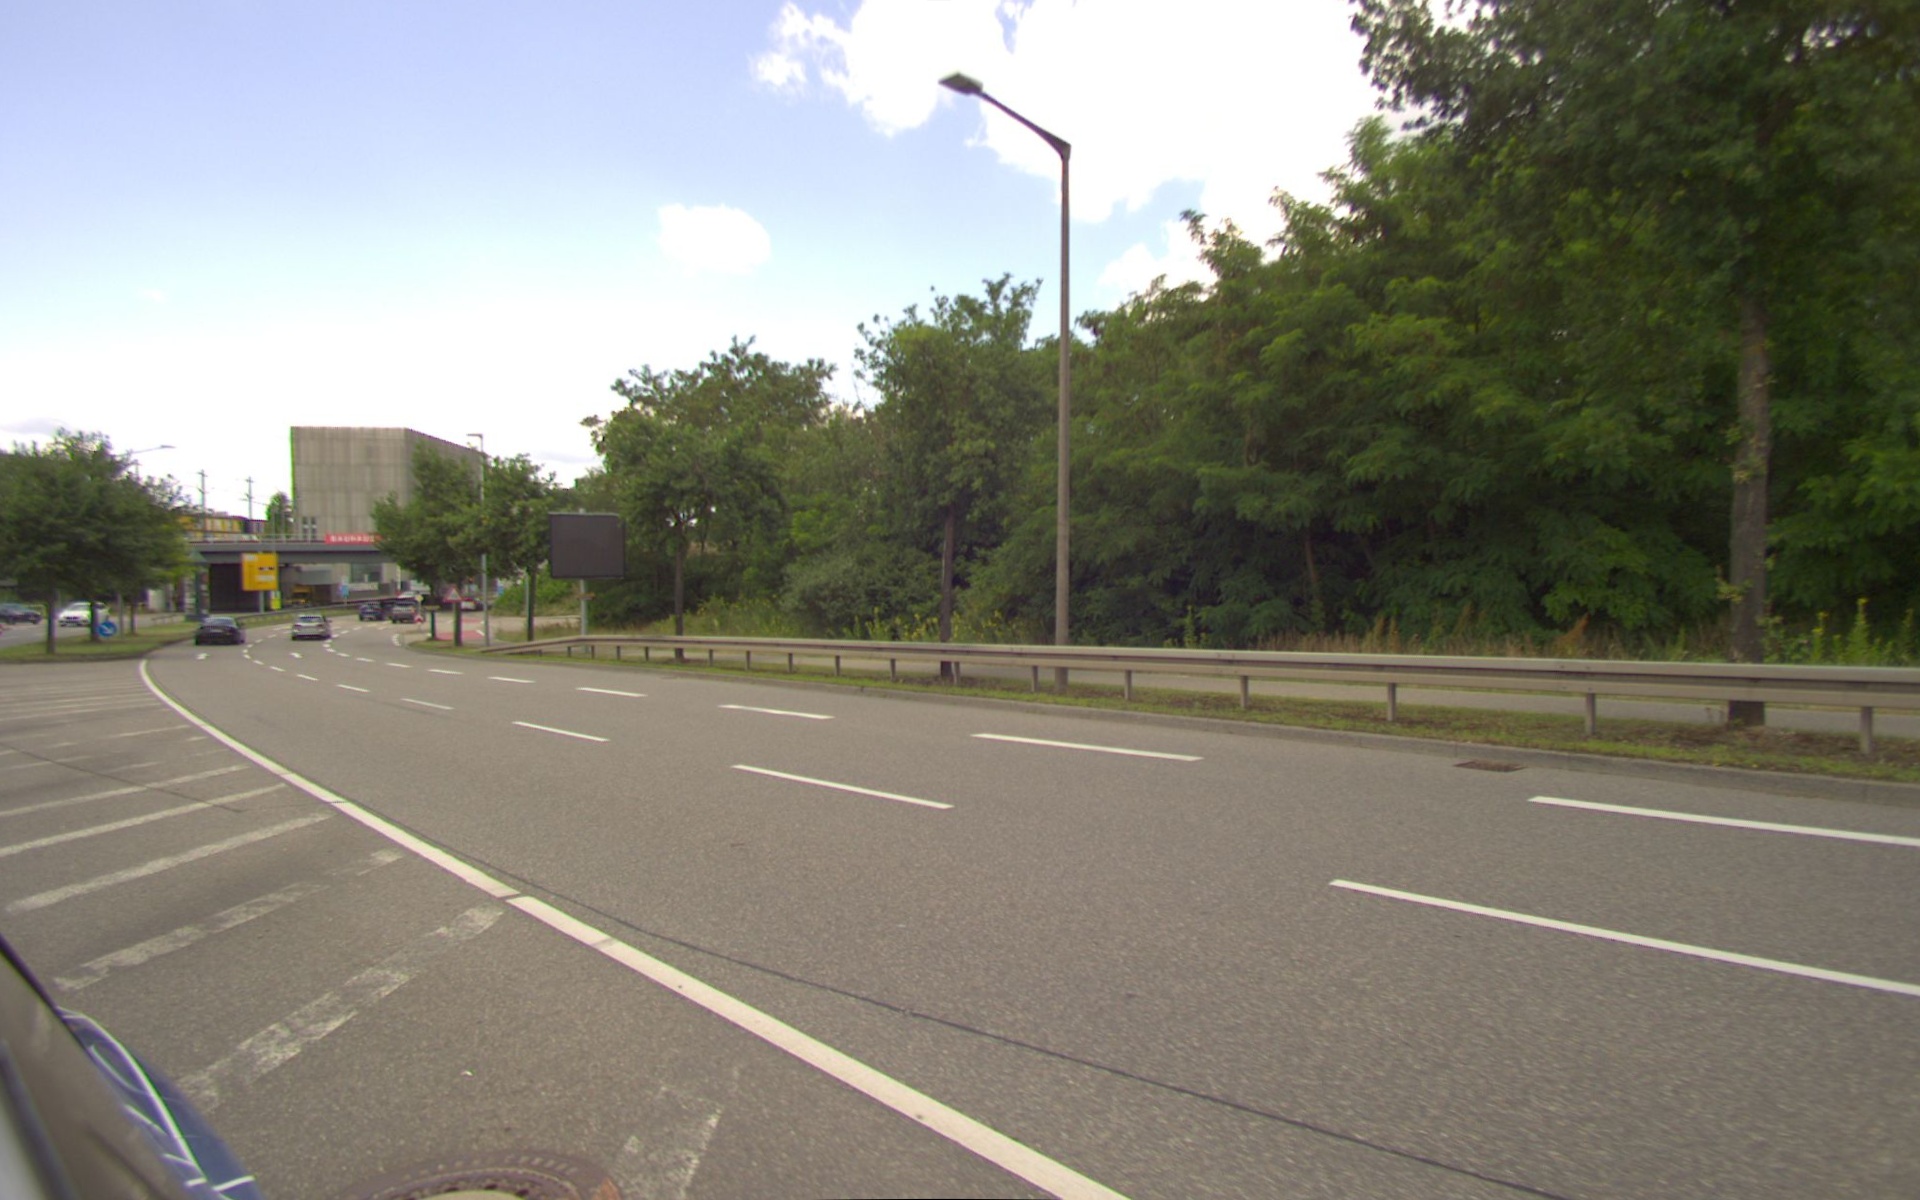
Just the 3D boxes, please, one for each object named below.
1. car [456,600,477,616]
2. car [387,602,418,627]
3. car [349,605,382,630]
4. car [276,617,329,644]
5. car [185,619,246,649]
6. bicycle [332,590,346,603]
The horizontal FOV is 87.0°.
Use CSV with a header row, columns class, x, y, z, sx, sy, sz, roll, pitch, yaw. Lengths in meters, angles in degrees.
class,x,y,z,sx,sy,sz,roll,pitch,yaw
car,-52.790,0.820,108.242,1.965,1.543,4.346,1,1,-26
car,-45.904,1.180,83.415,1.965,1.875,4.730,-1,1,-26
car,-50.977,1.521,86.857,1.965,2.029,4.833,-2,-1,-25
car,-37.665,1.712,57.927,1.969,1.407,4.707,-1,0,-40
car,-37.513,1.675,51.090,1.877,1.374,4.590,1,-1,-29
bicycle,-85.491,-0.497,139.284,0.710,1.787,2.540,0,2,-11
